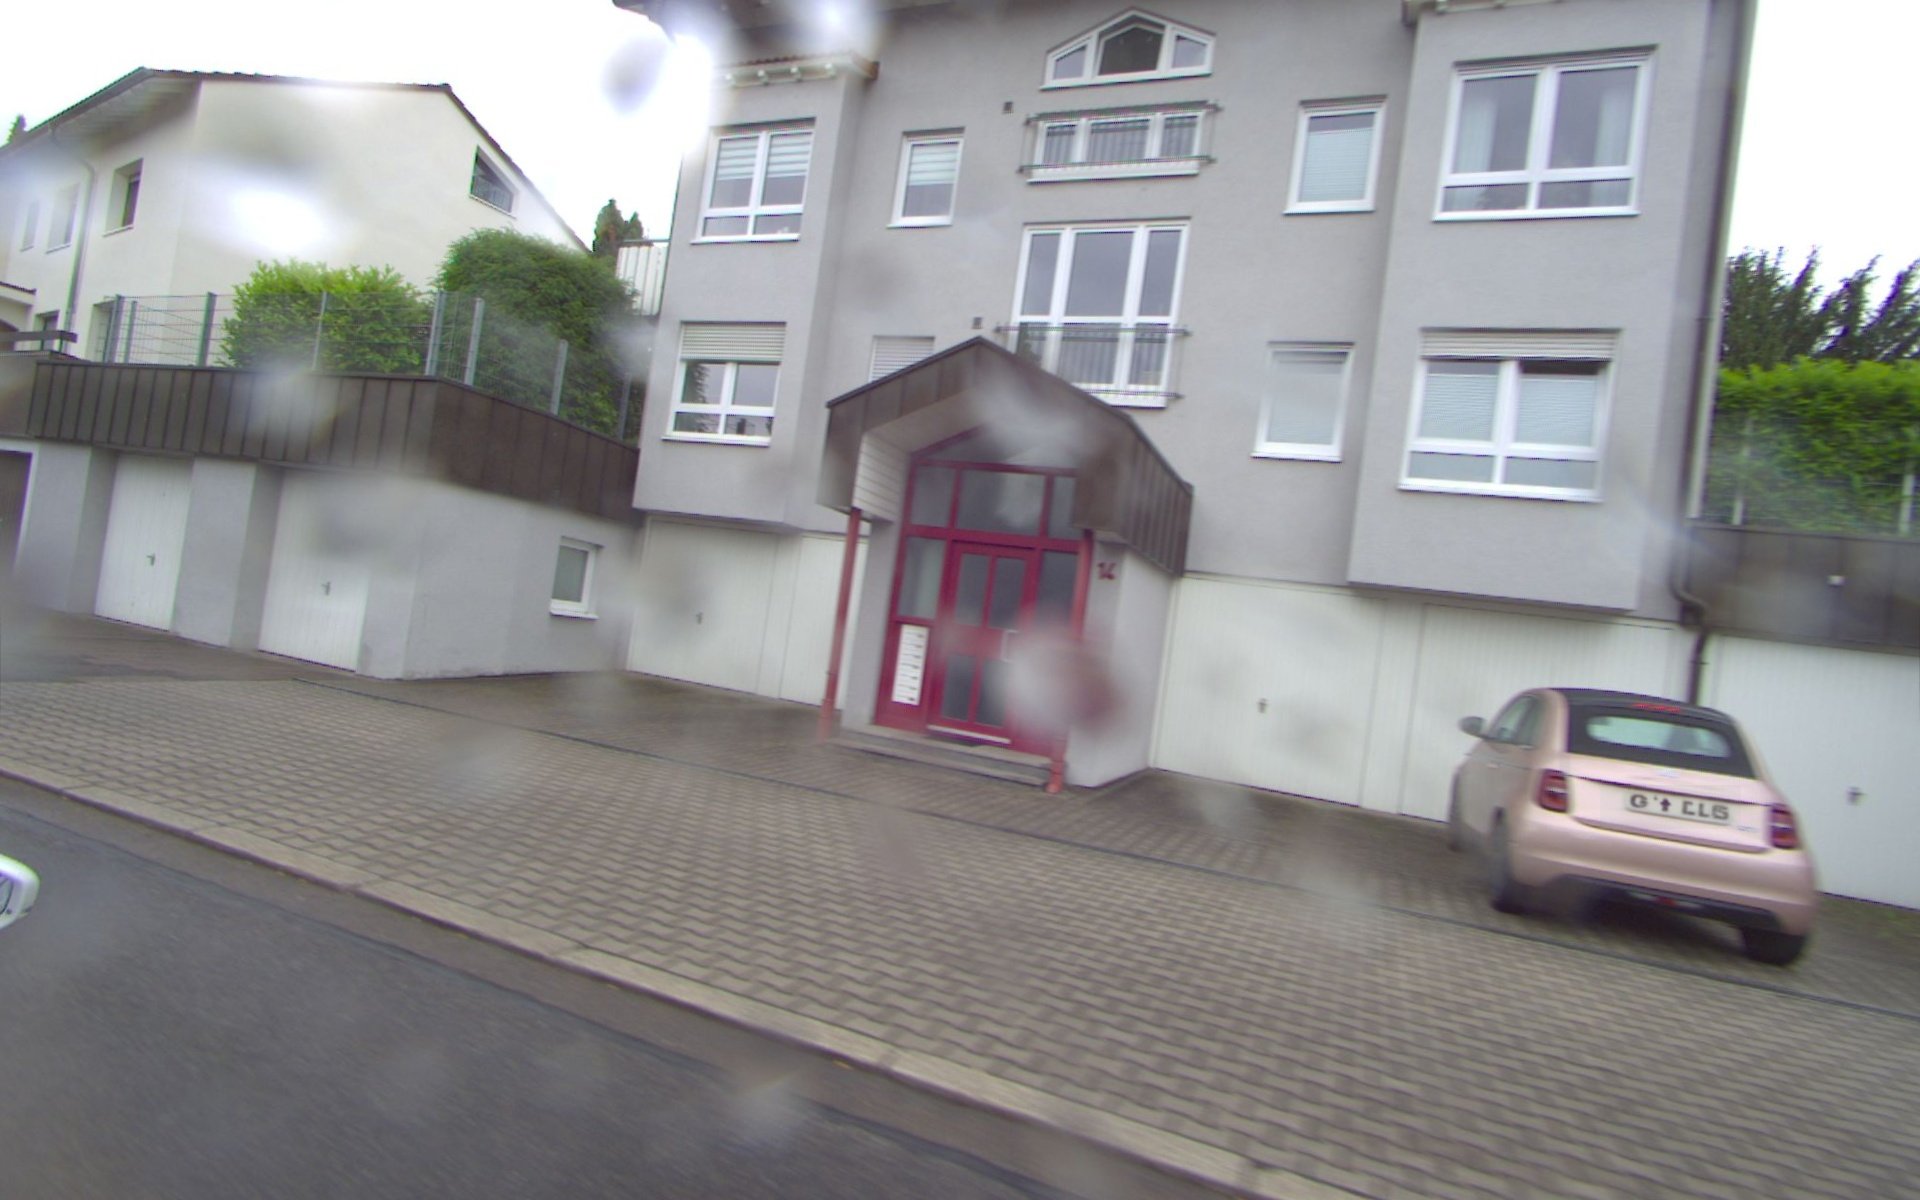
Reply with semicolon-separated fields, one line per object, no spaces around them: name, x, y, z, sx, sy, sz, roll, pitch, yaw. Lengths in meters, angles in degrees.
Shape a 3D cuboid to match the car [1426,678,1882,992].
car;4.771;1.466;7.577;1.779;1.502;3.647;7;-2;19
